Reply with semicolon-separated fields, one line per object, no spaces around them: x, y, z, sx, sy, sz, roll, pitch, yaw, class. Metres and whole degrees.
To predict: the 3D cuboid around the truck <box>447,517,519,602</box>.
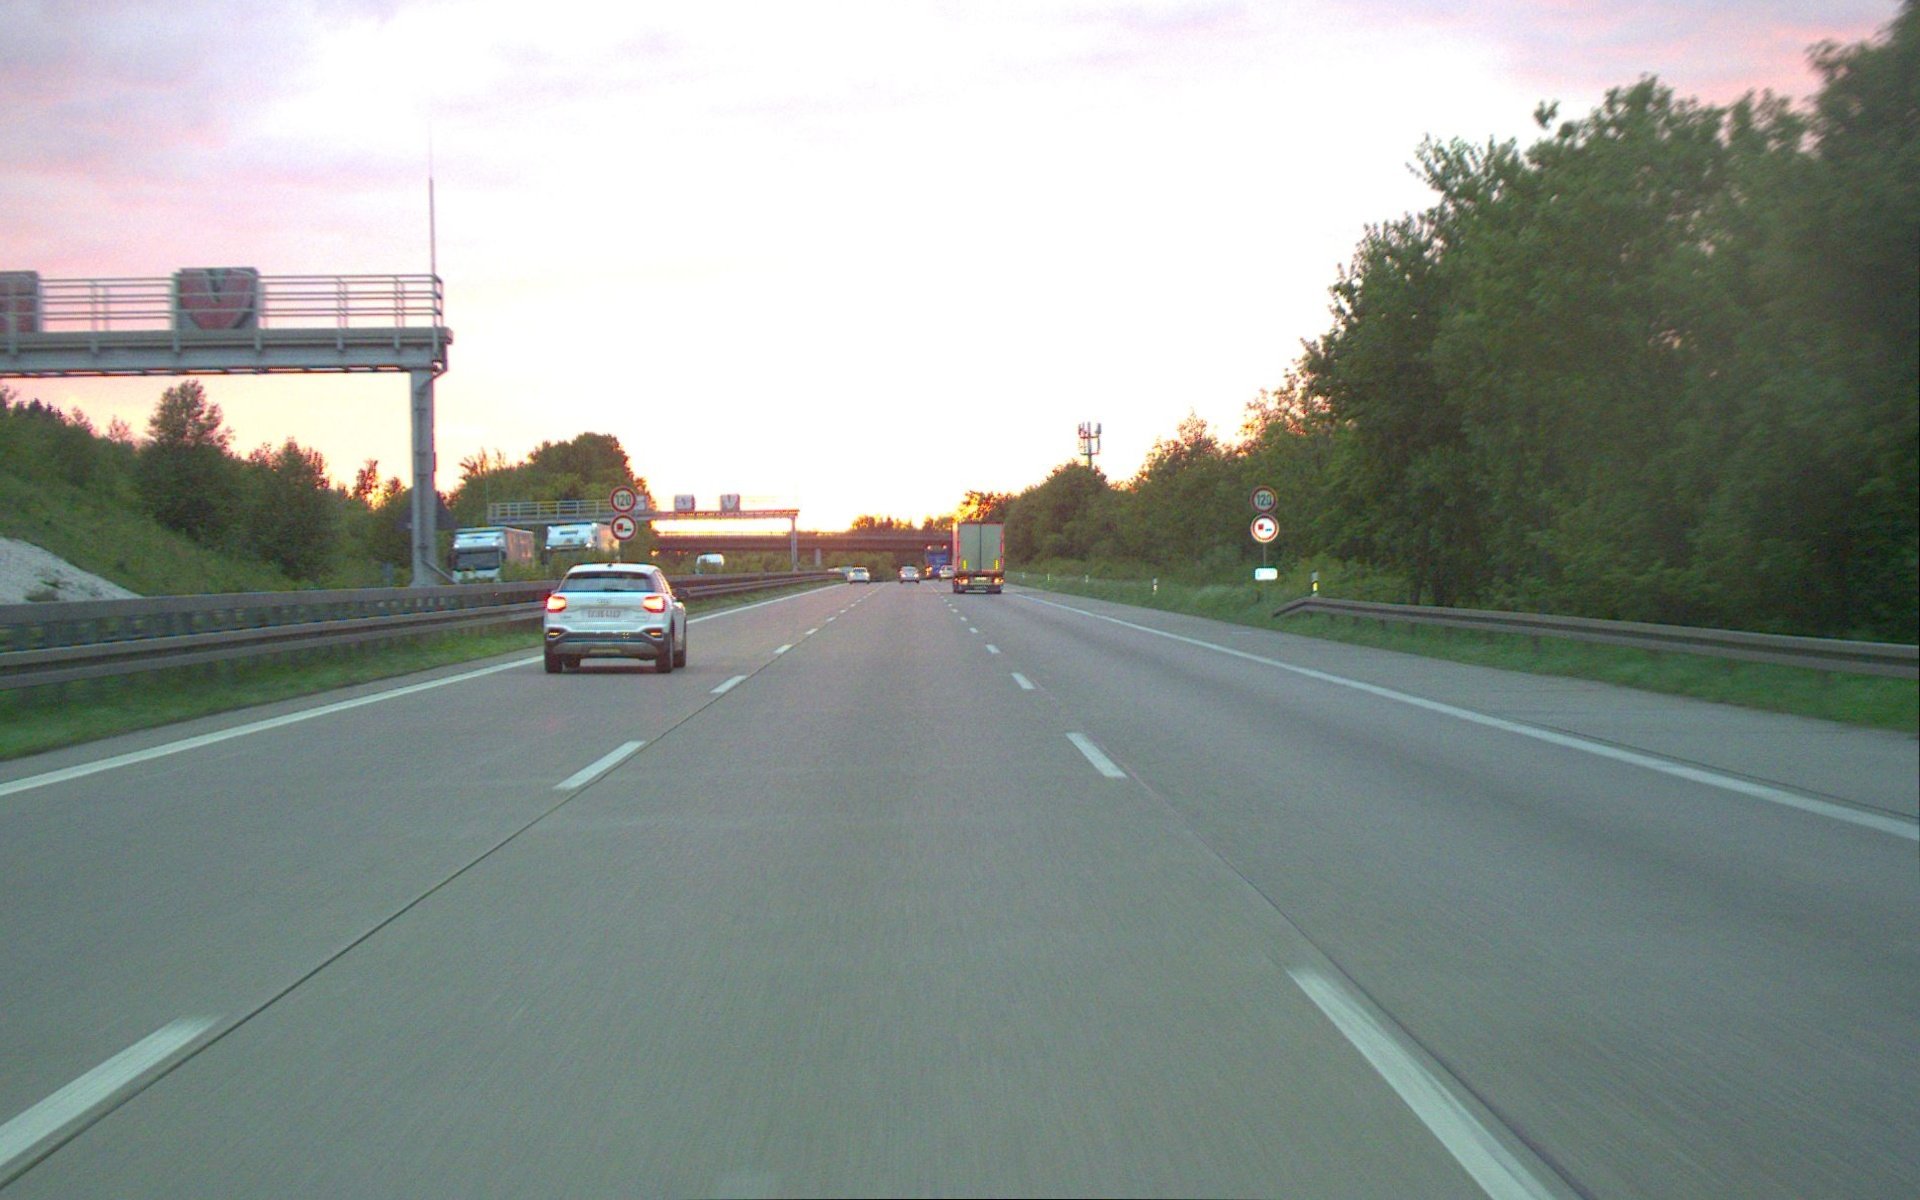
-24.199;-2.053;174.679;2.856;4.196;5.864;-1;1;0;truck

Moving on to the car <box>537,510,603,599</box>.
-20.027;-2.314;176.740;2.798;4.472;5.930;-1;1;-1;car

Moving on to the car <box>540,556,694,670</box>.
-4.852;0.143;49.170;1.789;1.495;5.038;0;1;-1;car

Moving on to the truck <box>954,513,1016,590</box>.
1.395;-2.657;190.067;3.244;4.113;9.786;-1;1;1;truck
